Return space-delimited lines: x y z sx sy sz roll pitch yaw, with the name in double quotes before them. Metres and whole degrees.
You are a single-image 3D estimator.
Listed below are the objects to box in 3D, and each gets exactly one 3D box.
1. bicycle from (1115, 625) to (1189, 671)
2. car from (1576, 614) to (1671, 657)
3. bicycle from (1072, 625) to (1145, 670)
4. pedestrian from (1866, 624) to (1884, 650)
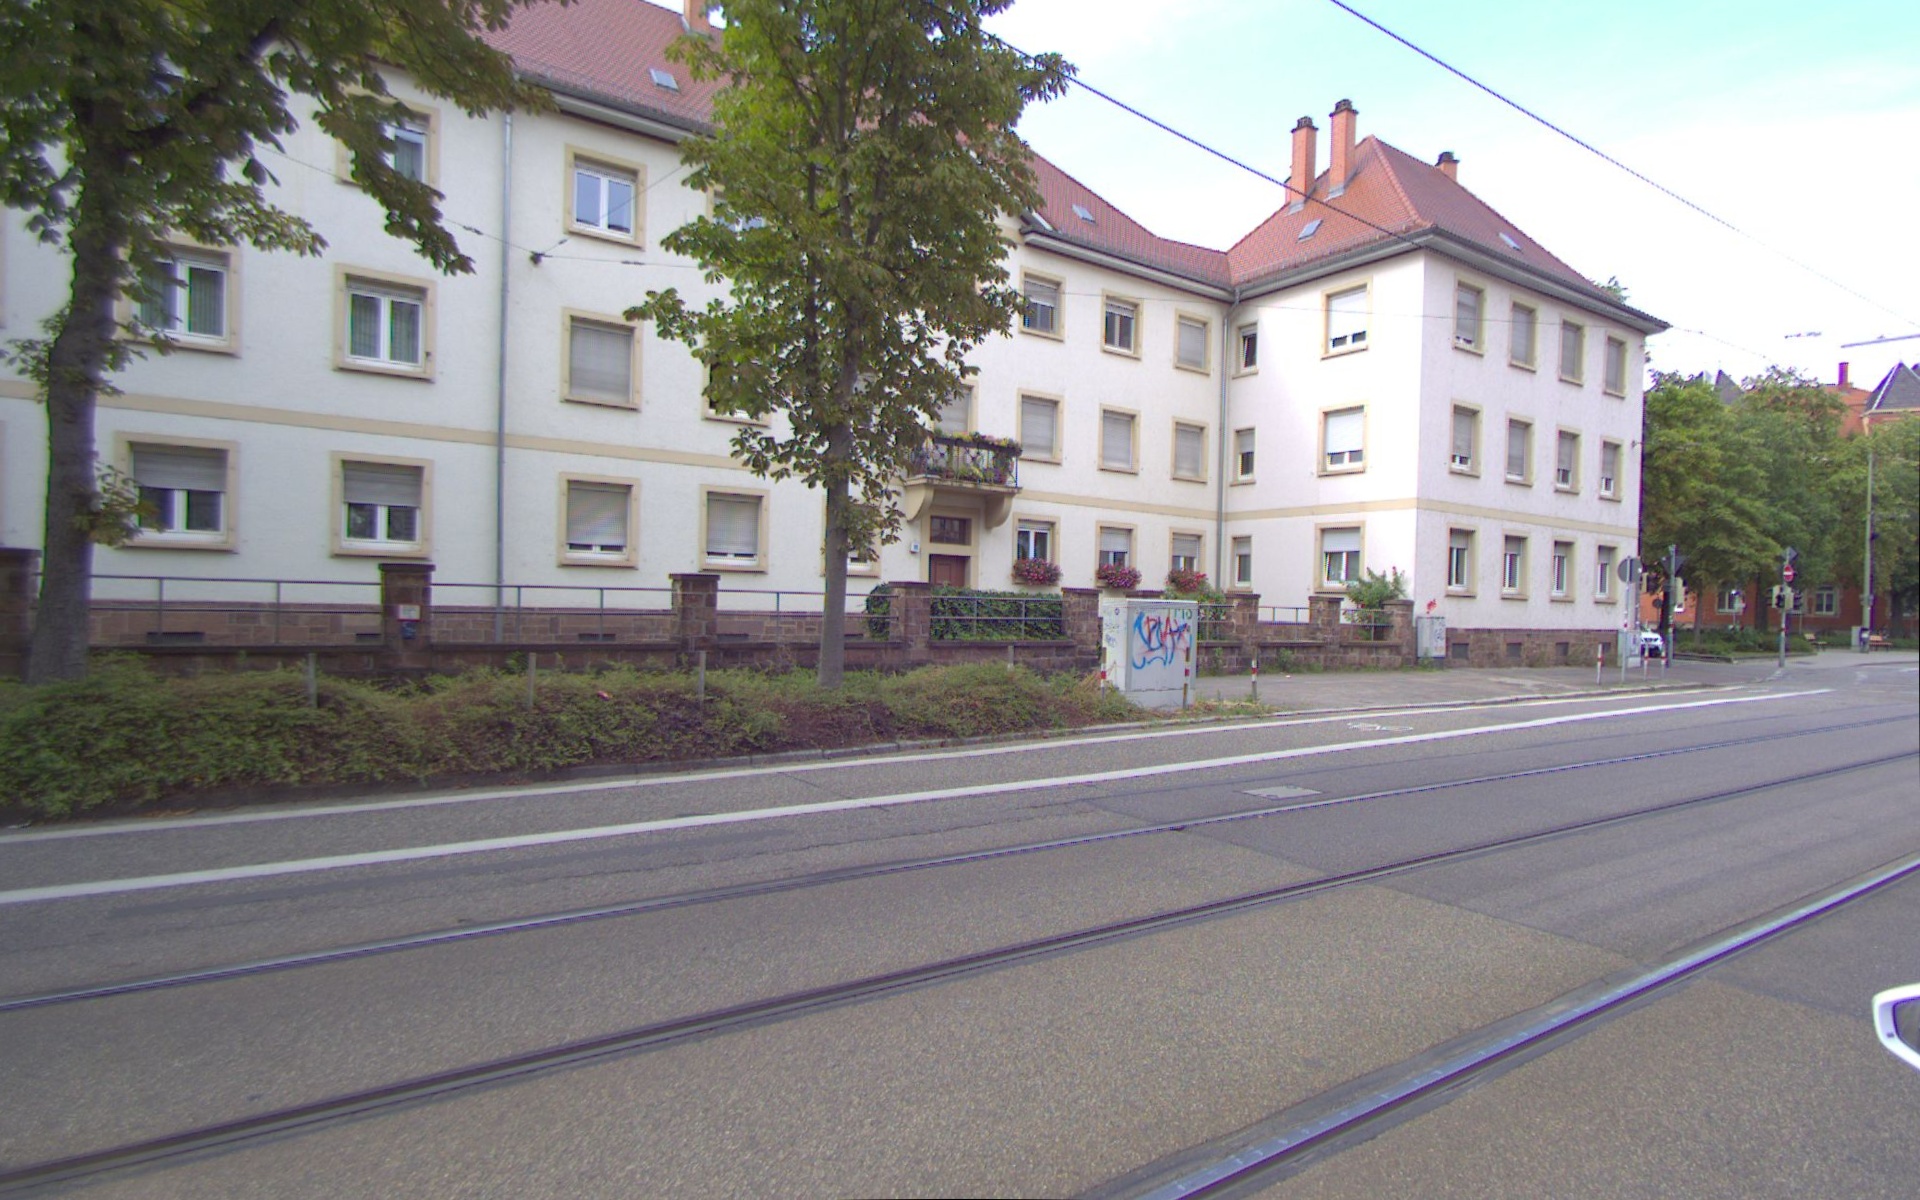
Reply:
"bicycle" 3.997 0.987 20.863 1.655 0.927 0.475 1 0 -34
"car" 29.400 1.601 44.654 1.804 1.743 4.162 3 -2 6
"bicycle" 3.184 1.006 21.476 1.655 0.927 0.475 1 0 -34
"pedestrian" 63.438 2.551 69.647 0.726 1.725 0.826 1 0 -39
